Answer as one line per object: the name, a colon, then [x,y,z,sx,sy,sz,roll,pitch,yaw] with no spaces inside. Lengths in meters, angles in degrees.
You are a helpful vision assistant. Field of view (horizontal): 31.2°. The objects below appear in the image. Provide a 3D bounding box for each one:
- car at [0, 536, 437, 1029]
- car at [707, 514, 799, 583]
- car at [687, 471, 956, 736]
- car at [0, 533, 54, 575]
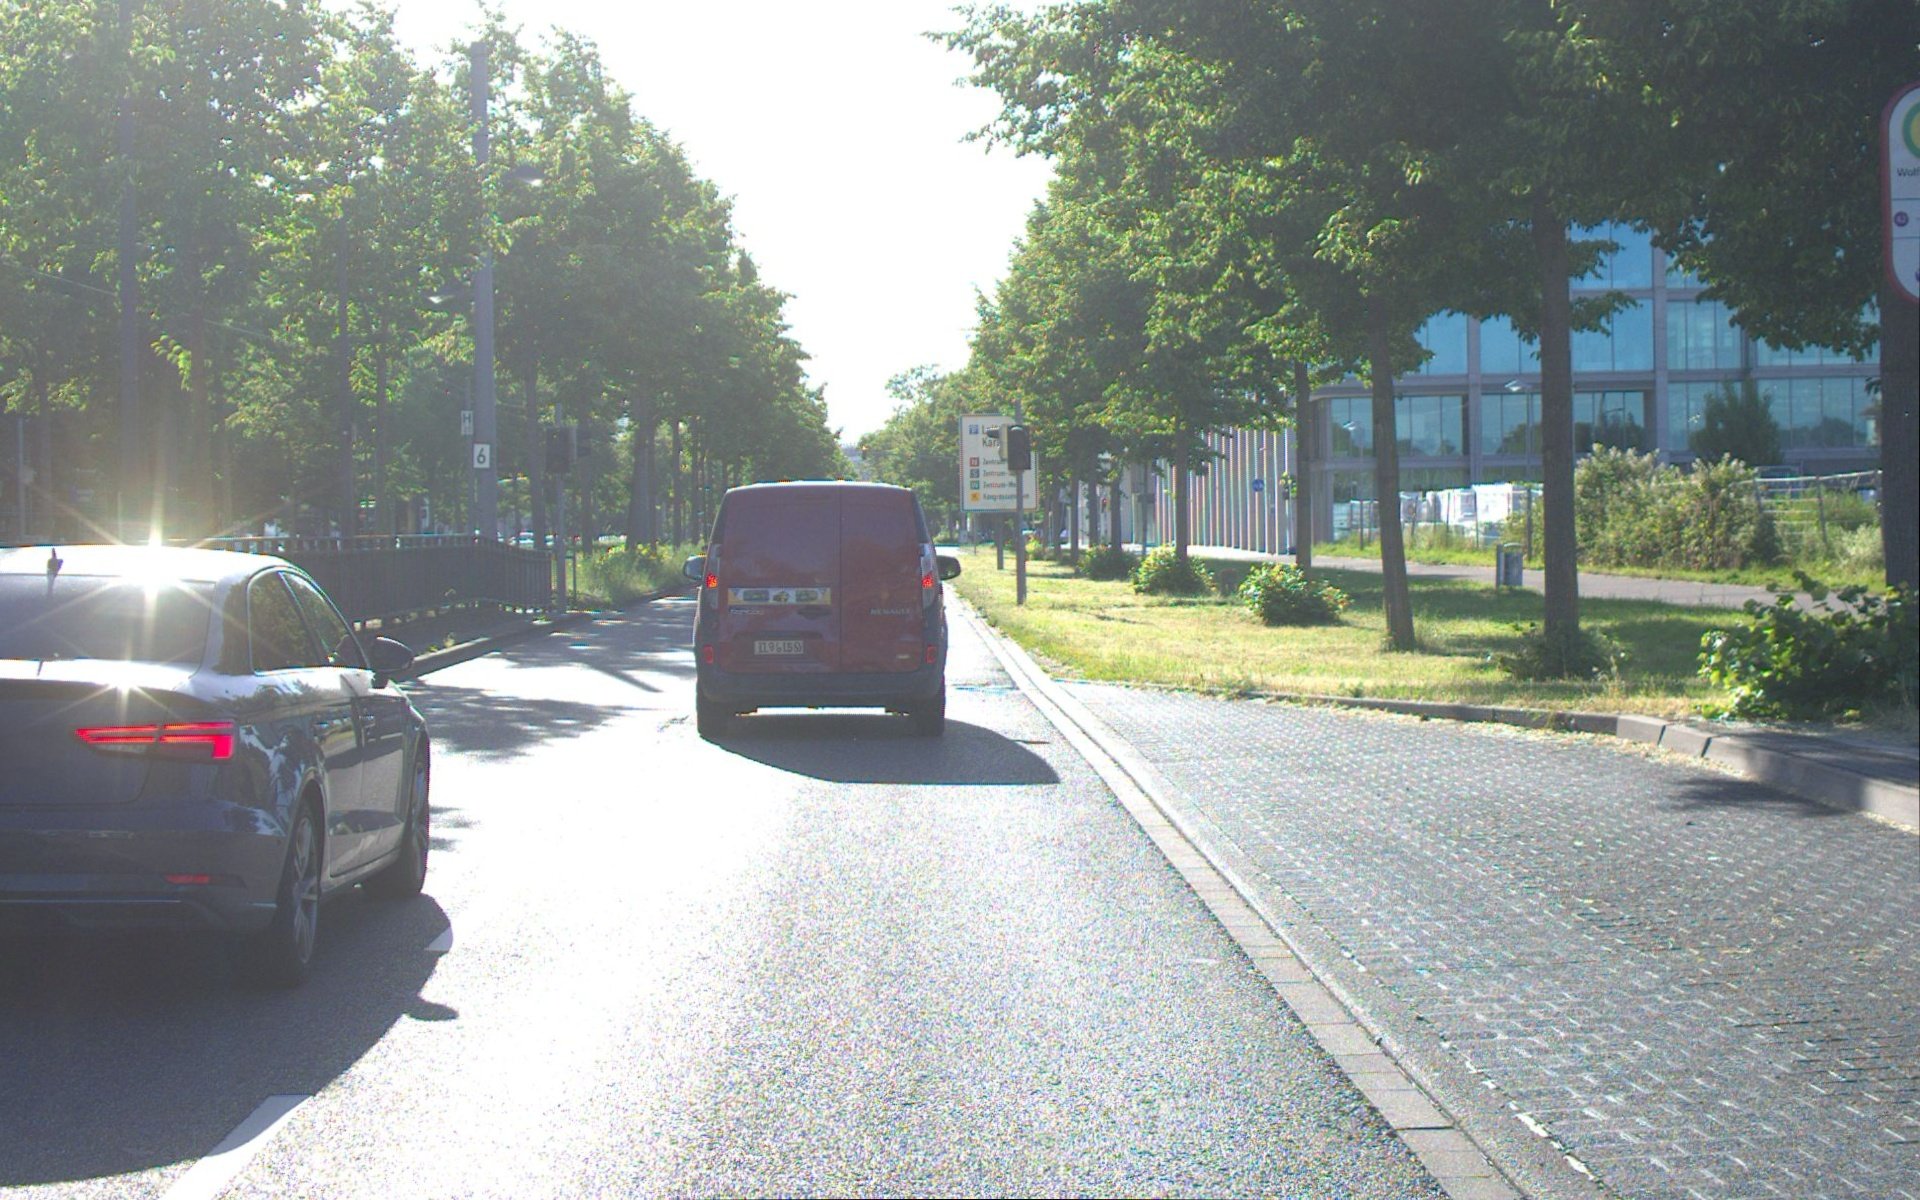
car: [-2.970,0.489,11.971,1.721,1.361,4.146,1,2,-1]
car: [-4.533,-1.146,75.437,1.942,1.436,4.001,-1,1,-3]
car: [-1.040,-0.025,25.419,1.797,1.771,4.001,-1,1,-3]
car: [-33.368,-1.623,120.957,1.715,1.415,4.545,-1,1,1]
